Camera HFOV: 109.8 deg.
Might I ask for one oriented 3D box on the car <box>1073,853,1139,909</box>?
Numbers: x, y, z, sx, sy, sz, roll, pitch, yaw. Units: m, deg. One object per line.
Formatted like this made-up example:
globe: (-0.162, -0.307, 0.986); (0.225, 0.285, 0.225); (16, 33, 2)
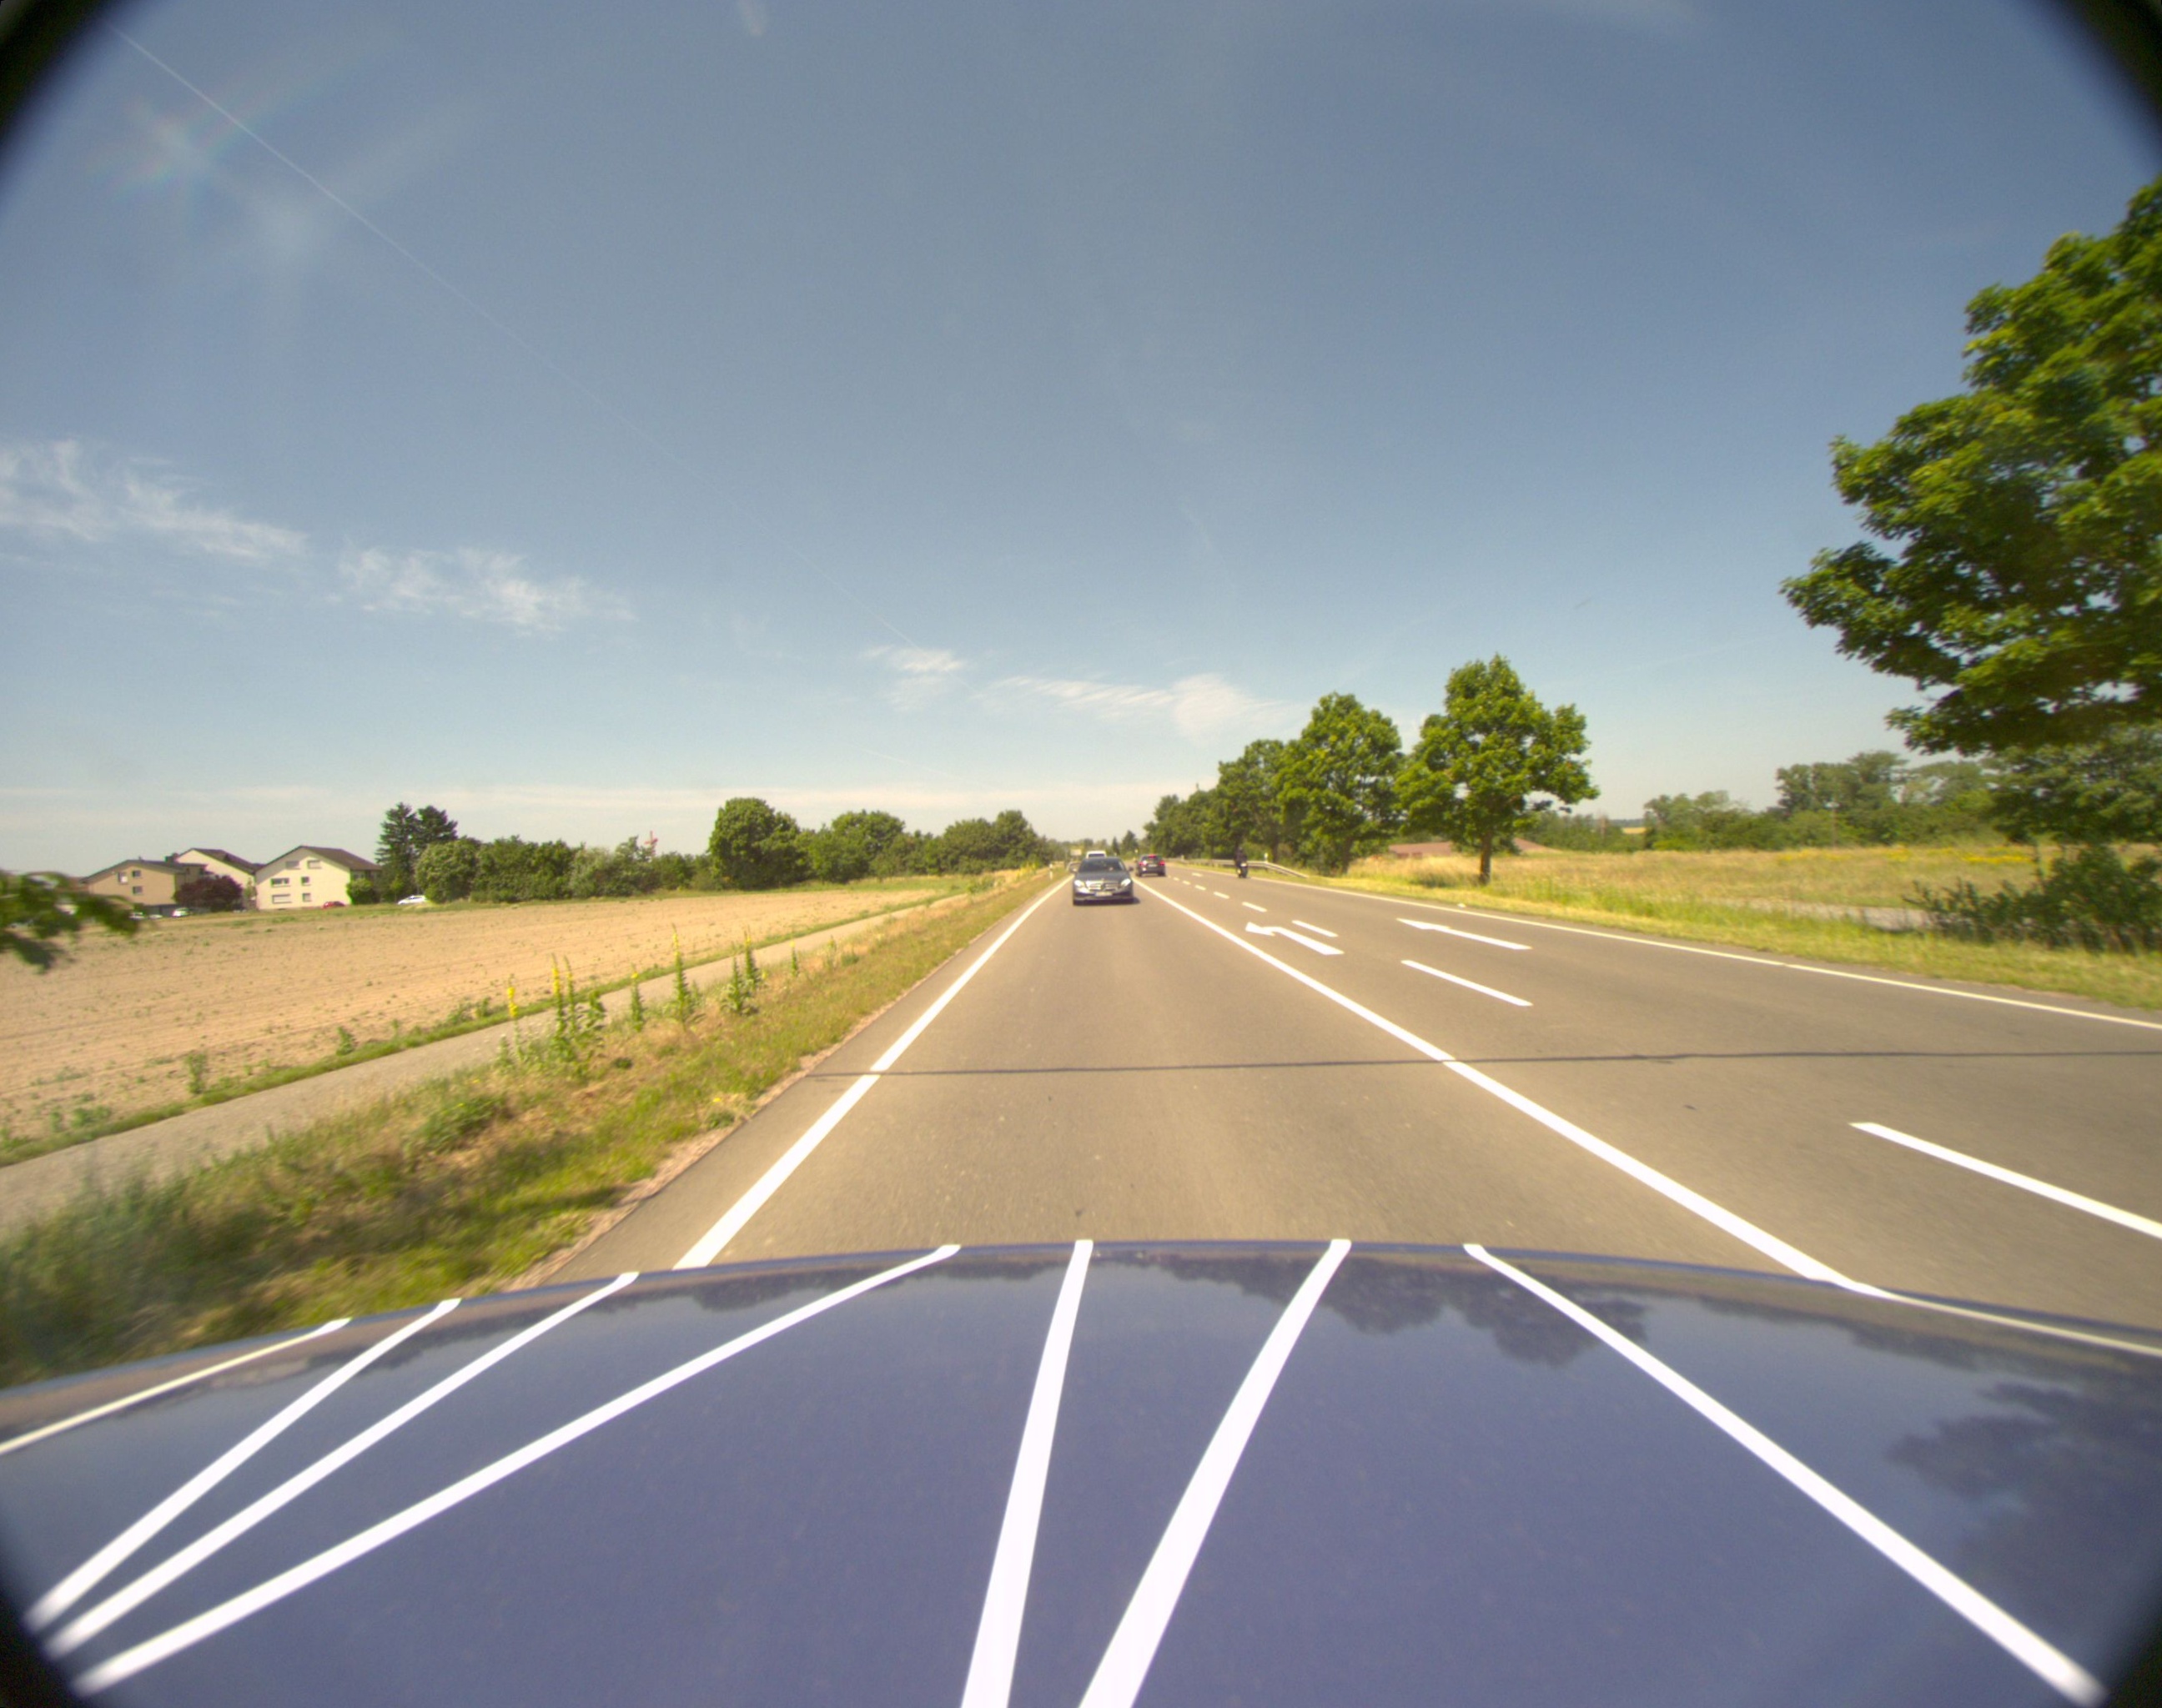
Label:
car: (0.901, 0.805, 24.463); (1.831, 1.540, 4.500); (-3, 0, 4)

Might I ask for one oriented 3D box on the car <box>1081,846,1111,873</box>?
car: (1.327, 0.454, 63.972); (2.179, 2.002, 5.026); (-6, 0, 3)

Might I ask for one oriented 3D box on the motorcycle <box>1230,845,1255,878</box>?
motorcycle: (9.007, 0.413, 42.412); (0.891, 1.733, 2.445); (-2, 0, 1)

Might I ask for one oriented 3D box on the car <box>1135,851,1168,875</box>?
car: (4.644, 0.564, 50.772); (1.744, 1.465, 4.617); (-2, 0, 0)

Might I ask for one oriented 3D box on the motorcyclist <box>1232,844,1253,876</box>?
motorcyclist: (9.015, 0.332, 42.422); (0.855, 1.711, 1.088); (-2, 1, 0)
